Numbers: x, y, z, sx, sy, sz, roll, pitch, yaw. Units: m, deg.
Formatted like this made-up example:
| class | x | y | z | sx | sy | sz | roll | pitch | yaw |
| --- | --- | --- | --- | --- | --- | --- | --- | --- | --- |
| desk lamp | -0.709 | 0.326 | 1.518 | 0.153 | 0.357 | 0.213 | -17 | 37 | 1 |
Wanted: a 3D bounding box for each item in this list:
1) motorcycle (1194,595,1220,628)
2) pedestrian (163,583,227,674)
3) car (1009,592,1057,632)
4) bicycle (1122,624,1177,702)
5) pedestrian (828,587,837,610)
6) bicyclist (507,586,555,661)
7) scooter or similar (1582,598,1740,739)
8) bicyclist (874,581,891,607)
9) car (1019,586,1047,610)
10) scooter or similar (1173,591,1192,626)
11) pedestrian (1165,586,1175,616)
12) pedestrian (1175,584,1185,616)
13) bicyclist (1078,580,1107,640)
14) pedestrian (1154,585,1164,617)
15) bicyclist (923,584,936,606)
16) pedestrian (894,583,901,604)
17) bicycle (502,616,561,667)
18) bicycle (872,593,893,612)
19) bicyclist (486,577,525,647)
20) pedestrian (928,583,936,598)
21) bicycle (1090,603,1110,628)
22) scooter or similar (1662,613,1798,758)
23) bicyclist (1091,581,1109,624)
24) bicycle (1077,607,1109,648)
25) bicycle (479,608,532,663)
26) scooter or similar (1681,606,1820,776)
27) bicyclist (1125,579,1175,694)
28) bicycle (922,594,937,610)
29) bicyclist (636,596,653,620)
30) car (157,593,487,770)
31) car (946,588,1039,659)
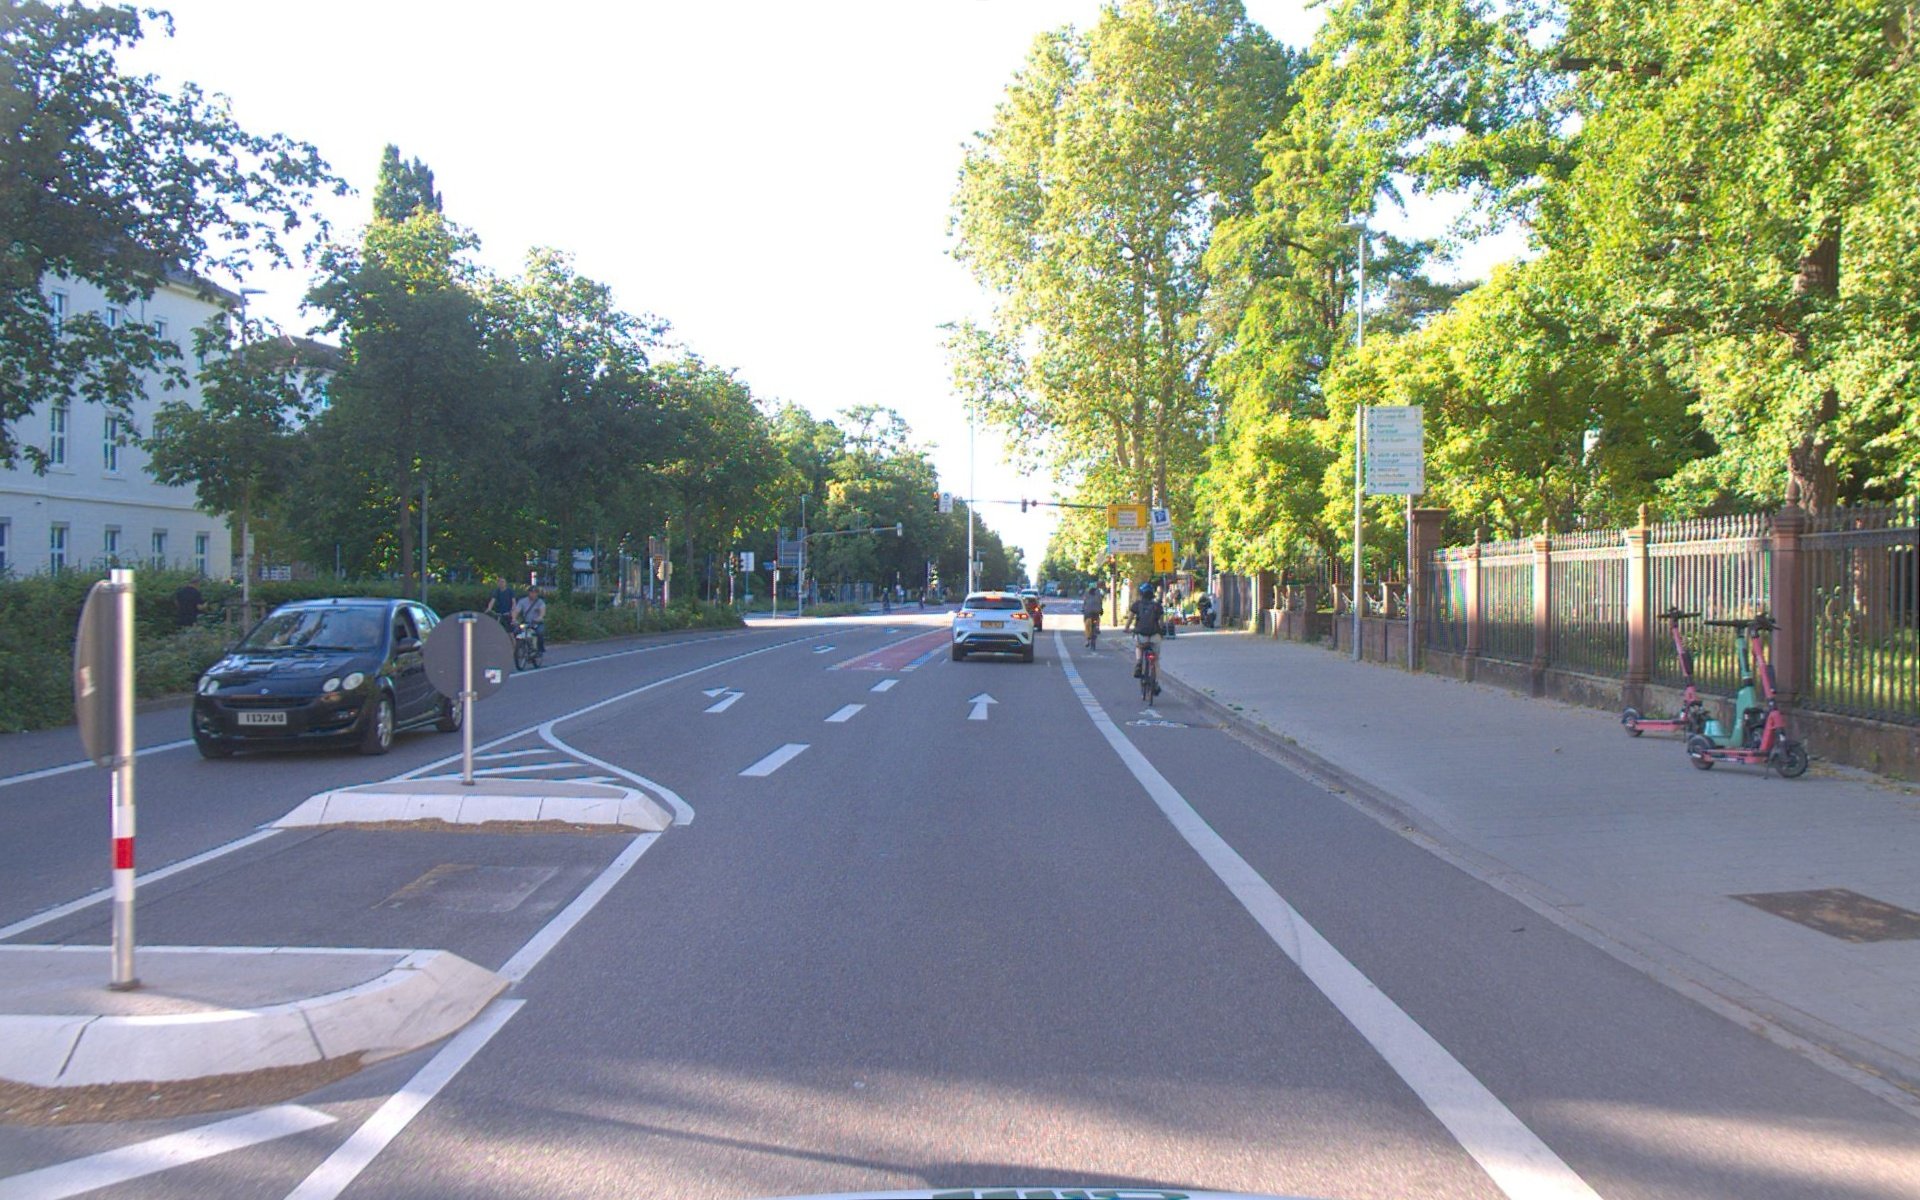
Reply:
| class | x | y | z | sx | sy | sz | roll | pitch | yaw |
| --- | --- | --- | --- | --- | --- | --- | --- | --- | --- |
| motorcycle | 9.223 | 0.411 | 61.805 | 0.648 | 1.188 | 2.328 | -3 | 0 | 2 |
| pedestrian | -16.121 | 0.593 | 34.873 | 0.838 | 1.884 | 1.001 | -1 | 0 | 1 |
| car | 2.996 | 0.464 | 67.955 | 1.889 | 1.560 | 4.001 | -1 | 0 | 2 |
| bicycle | 2.779 | 0.903 | 24.440 | 0.629 | 1.042 | 2.213 | 1 | 0 | 2 |
| pedestrian | -10.425 | -0.121 | 135.565 | 0.637 | 1.921 | 0.663 | -1 | 0 | 5 |
| bicyclist | -8.565 | 0.464 | 33.064 | 0.633 | 1.443 | 0.971 | -3 | 1 | 0 |
| scooter or similar | 6.667 | 0.621 | 15.810 | 0.538 | 1.264 | 1.551 | -1 | 0 | -15 |
| bicyclist | -5.380 | -0.409 | 114.784 | 1.069 | 1.785 | 1.098 | -1 | 0 | 4 |
| car | 5.105 | -0.161 | 115.171 | 1.700 | 1.573 | 4.003 | -1 | 1 | 7 |
| scooter or similar | 9.237 | 0.331 | 68.589 | 0.554 | 1.407 | 1.856 | -1 | 0 | 1 |
| pedestrian | 12.379 | 0.066 | 97.278 | 0.472 | 1.668 | 0.432 | -3 | 3 | 9 |
| pedestrian | 13.029 | 0.010 | 97.922 | 0.472 | 1.823 | 0.432 | -3 | 3 | 9 |
| bicyclist | 3.522 | 0.262 | 43.891 | 0.732 | 1.564 | 0.970 | 0 | 0 | 2 |
| pedestrian | 11.703 | 0.042 | 97.148 | 0.472 | 1.823 | 0.432 | -3 | 3 | 9 |
| bicyclist | -2.468 | -0.418 | 133.598 | 0.935 | 1.735 | 1.233 | -1 | 0 | 4 |
| pedestrian | -5.995 | -0.653 | 159.398 | 0.643 | 2.049 | 0.832 | -1 | 0 | 0 |
| bicycle | -8.548 | 0.815 | 33.040 | 0.604 | 0.937 | 2.179 | -1 | 0 | 0 |
| bicycle | -5.371 | 0.135 | 114.703 | 1.078 | 1.277 | 2.780 | -1 | 0 | 4 |
| bicyclist | -10.304 | 0.264 | 37.512 | 0.616 | 1.549 | 0.724 | -3 | 1 | 0 |
| pedestrian | -4.124 | -1.359 | 242.661 | 0.857 | 2.187 | 1.104 | -1 | 0 | 12 |
| bicycle | 5.871 | 0.651 | 69.473 | 0.737 | 1.044 | 1.870 | 1 | 0 | 2 |
| scooter or similar | 6.447 | 0.689 | 13.907 | 0.471 | 1.142 | 1.336 | -1 | 0 | -2 |
| bicyclist | 5.885 | 0.110 | 69.552 | 0.734 | 1.780 | 0.843 | 1 | 0 | 2 |
| bicycle | 3.512 | 0.714 | 43.809 | 0.737 | 1.044 | 1.870 | 1 | 0 | 2 |
| bicycle | -10.284 | 0.791 | 37.499 | 0.584 | 1.140 | 2.027 | -4 | 0 | 0 |
| scooter or similar | 6.166 | 0.681 | 12.946 | 0.292 | 1.261 | 1.157 | -1 | 0 | -14 |
| bicyclist | 2.783 | 0.523 | 24.353 | 0.623 | 1.642 | 1.284 | 1 | 0 | 2 |
| bicycle | -2.473 | 0.159 | 133.474 | 0.943 | 1.201 | 2.952 | -1 | 0 | 4 |
| bicyclist | -20.371 | 0.515 | 106.753 | 0.902 | 1.535 | 0.507 | -1 | 0 | 9 |
| car | -6.052 | 0.690 | 16.211 | 1.722 | 1.484 | 3.999 | -1 | 0 | -1 |
| car | 0.762 | 0.482 | 37.182 | 1.952 | 1.478 | 4.001 | -1 | 0 | 2 |
